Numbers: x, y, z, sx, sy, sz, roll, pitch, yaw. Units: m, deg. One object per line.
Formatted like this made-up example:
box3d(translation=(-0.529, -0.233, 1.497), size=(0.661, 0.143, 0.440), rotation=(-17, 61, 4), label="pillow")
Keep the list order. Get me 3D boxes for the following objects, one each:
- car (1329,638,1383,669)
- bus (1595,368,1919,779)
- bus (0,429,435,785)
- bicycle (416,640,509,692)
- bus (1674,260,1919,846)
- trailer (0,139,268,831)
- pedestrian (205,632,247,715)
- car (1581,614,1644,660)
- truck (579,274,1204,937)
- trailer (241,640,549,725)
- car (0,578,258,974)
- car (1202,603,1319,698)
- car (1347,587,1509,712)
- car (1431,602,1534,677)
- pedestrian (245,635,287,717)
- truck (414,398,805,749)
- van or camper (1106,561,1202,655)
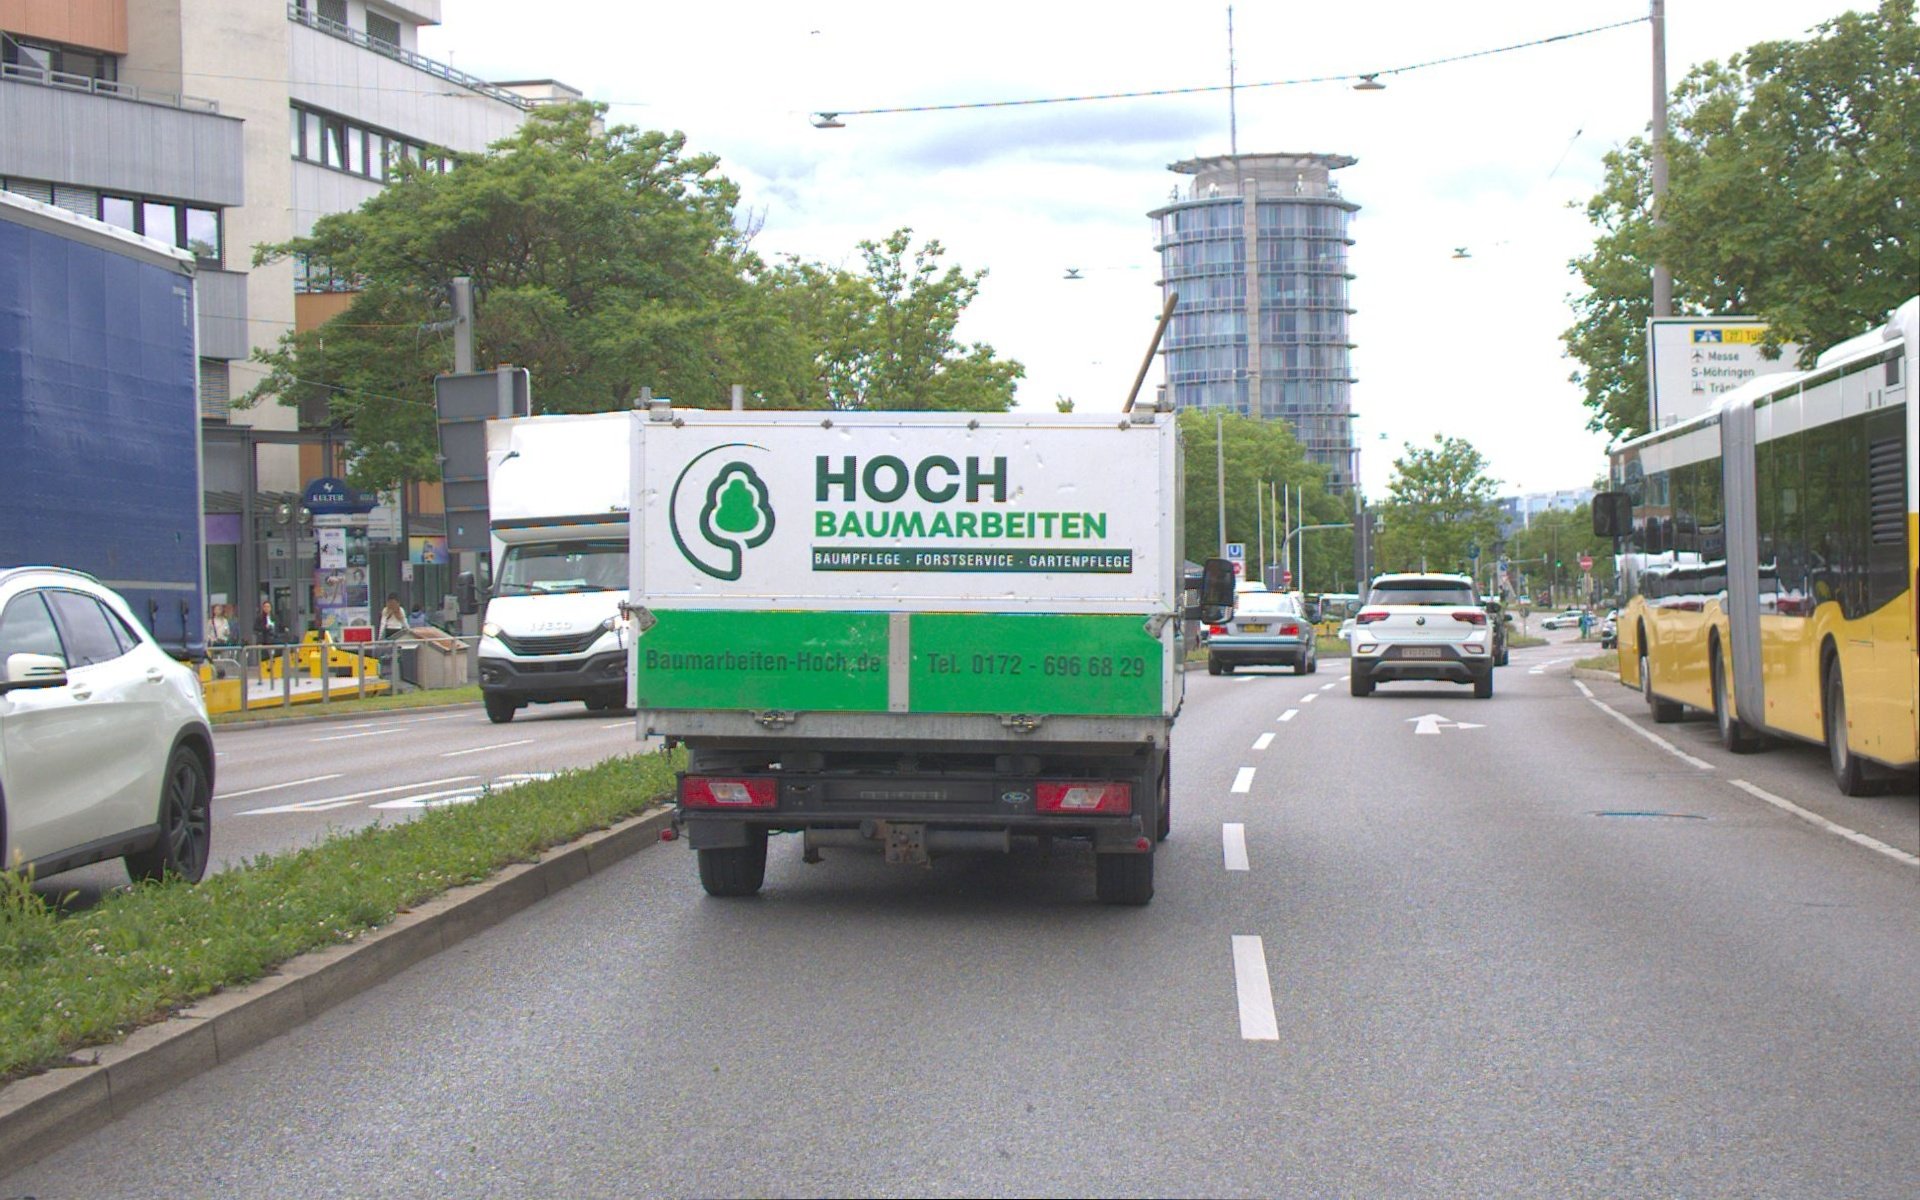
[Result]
box3d(translation=(19.576, 2.641, 169.925), size=(1.995, 1.481, 3.997), rotation=(-2, -2, 16), label="car")
box3d(translation=(7.918, -0.148, 32.351), size=(2.983, 3.230, 9.863), rotation=(2, 0, 6), label="bus")
box3d(translation=(-11.391, 0.198, 47.005), size=(3.877, 3.846, 19.337), rotation=(-1, -1, 5), label="bus")
box3d(translation=(-11.555, 1.539, 79.903), size=(2.012, 1.157, 0.674), rotation=(-1, -1, -34), label="bicycle")
box3d(translation=(7.021, -0.274, 23.485), size=(3.036, 3.225, 9.336), rotation=(-2, -1, 5), label="bus")
box3d(translation=(-7.674, -0.665, 19.055), size=(3.103, 4.255, 14.843), rotation=(-1, 0, 6), label="trailer")
box3d(translation=(-14.204, 1.421, 66.539), size=(0.599, 1.568, 0.620), rotation=(-1, -1, 6), label="pedestrian")
box3d(translation=(23.259, 1.331, 122.601), size=(1.994, 1.547, 3.998), rotation=(-2, -1, 8), label="car")
box3d(translation=(-0.068, 0.016, 16.856), size=(2.471, 2.602, 6.546), rotation=(0, 0, 4), label="truck")
box3d(translation=(-10.372, 1.477, 64.701), size=(2.841, 1.328, 12.124), rotation=(-1, -1, 5), label="trailer")
box3d(translation=(-4.480, 0.689, 14.347), size=(1.786, 1.511, 4.363), rotation=(-1, 0, 6), label="car")
box3d(translation=(5.122, 0.822, 58.390), size=(1.868, 1.500, 4.772), rotation=(-1, 0, 5), label="car")
box3d(translation=(6.025, 0.604, 44.650), size=(1.868, 1.500, 4.772), rotation=(-1, 0, 5), label="car")
box3d(translation=(11.080, 0.809, 73.167), size=(1.868, 1.500, 4.772), rotation=(-1, 0, 5), label="car")
box3d(translation=(-13.409, 1.462, 66.444), size=(0.599, 1.568, 0.620), rotation=(-1, -1, 6), label="pedestrian")
box3d(translation=(-4.206, -0.300, 43.701), size=(2.939, 3.945, 9.162), rotation=(-1, 0, 7), label="truck")
box3d(translation=(5.723, 0.255, 100.682), size=(1.994, 2.589, 6.113), rotation=(-3, -1, 10), label="van or camper")
